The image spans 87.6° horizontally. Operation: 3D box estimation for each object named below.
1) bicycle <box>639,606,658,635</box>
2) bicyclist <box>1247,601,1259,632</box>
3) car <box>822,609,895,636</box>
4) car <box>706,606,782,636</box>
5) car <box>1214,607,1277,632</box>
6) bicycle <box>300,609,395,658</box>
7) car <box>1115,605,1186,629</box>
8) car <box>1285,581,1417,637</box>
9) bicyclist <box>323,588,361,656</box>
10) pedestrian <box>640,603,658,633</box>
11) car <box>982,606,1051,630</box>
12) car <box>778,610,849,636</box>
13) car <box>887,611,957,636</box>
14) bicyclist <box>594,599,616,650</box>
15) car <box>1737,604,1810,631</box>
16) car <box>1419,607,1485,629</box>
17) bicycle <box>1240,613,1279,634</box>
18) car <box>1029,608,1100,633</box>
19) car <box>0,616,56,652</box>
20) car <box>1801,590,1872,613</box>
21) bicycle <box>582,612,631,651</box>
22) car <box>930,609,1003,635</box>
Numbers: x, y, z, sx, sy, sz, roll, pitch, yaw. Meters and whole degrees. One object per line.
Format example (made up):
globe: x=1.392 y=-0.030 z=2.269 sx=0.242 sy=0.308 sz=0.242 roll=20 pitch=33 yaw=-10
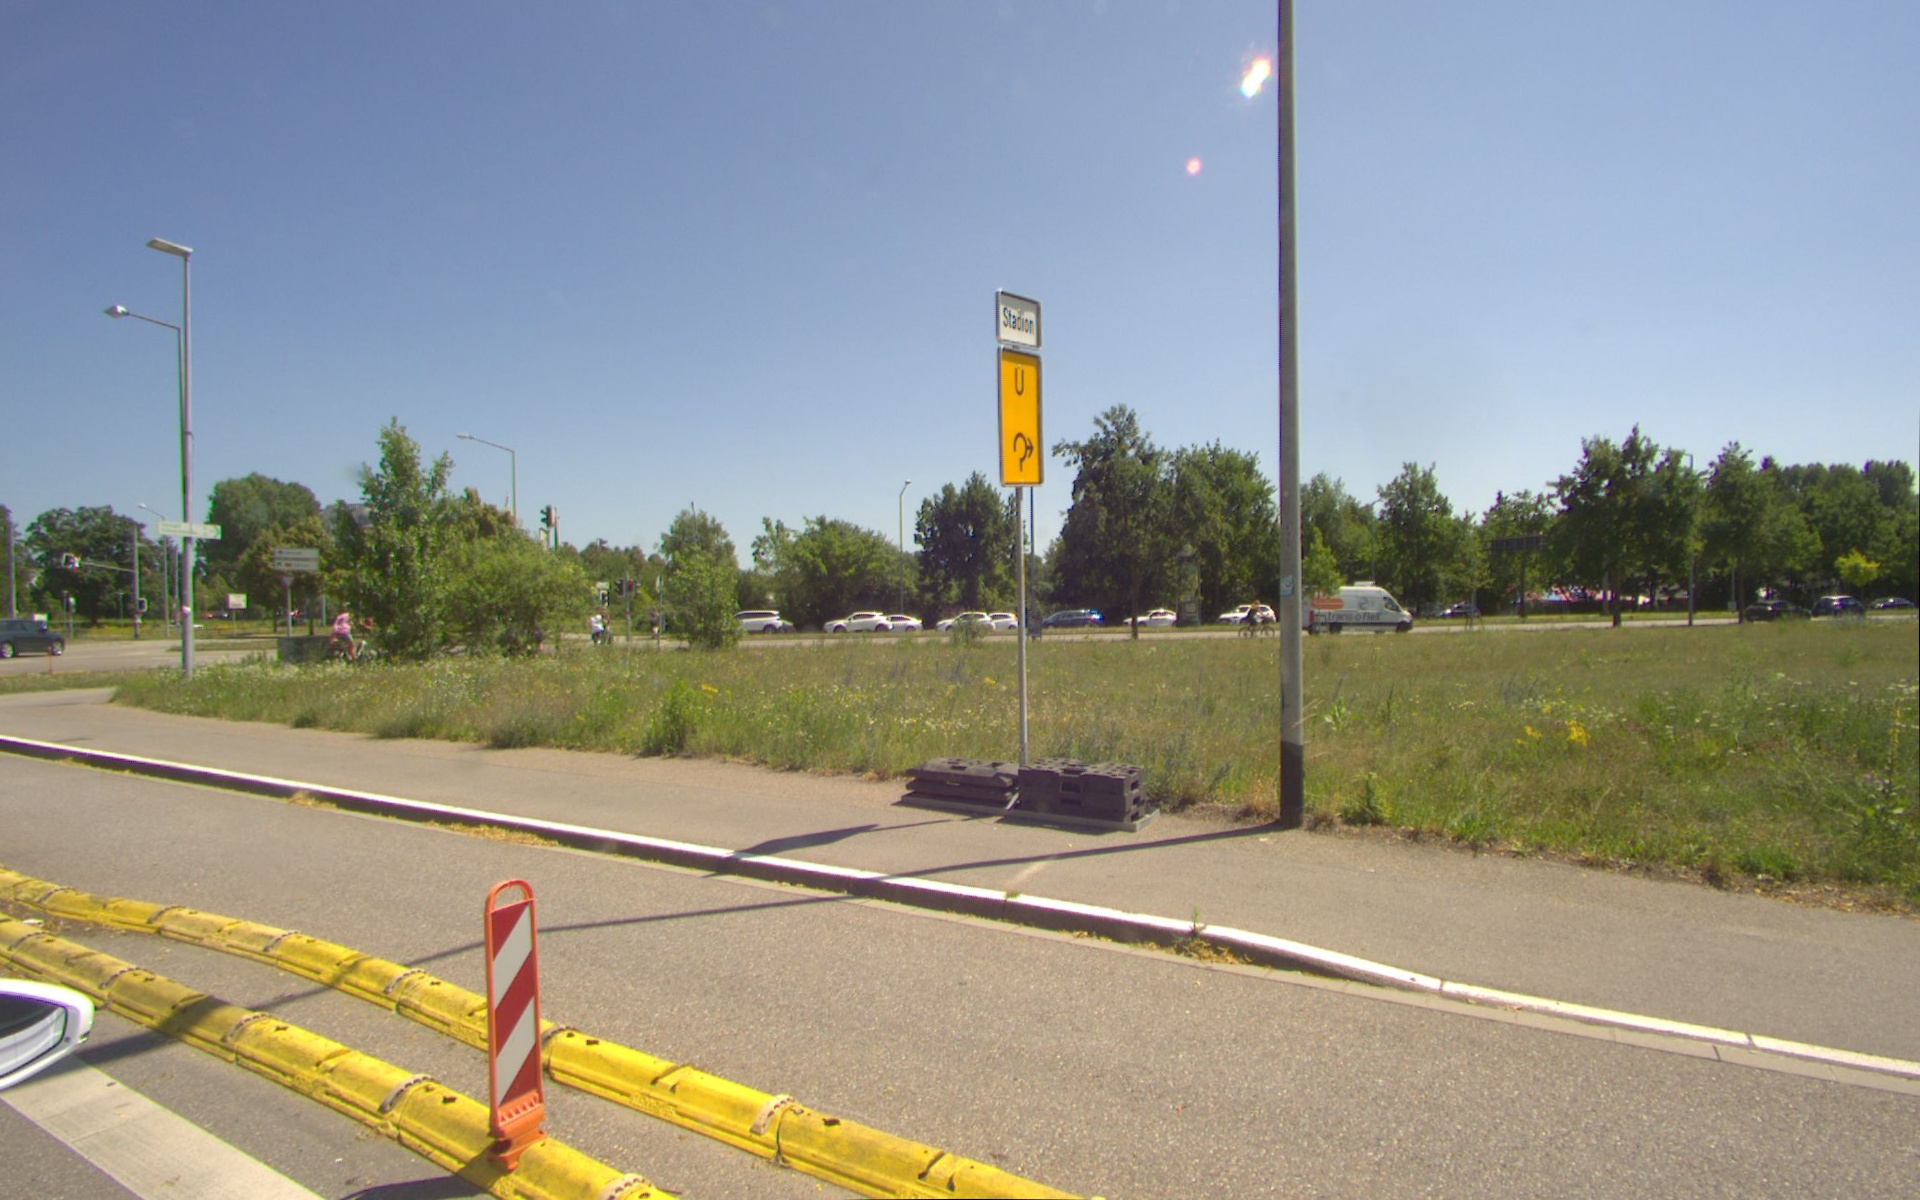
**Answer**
bicycle: x=-17.718 y=1.177 z=56.932 sx=0.967 sy=1.617 sz=2.879 roll=0 pitch=-2 yaw=-16
bicyclist: x=12.397 y=0.704 z=42.386 sx=0.349 sy=1.336 sz=0.379 roll=0 pitch=-1 yaw=-9
car: x=-6.385 y=1.418 z=62.876 sx=4.365 sy=1.612 sz=1.846 roll=0 pitch=-2 yaw=-16
car: x=-13.053 y=1.292 z=60.536 sx=4.365 sy=1.758 sz=1.846 roll=0 pitch=-2 yaw=-16
car: x=19.628 y=1.362 z=68.745 sx=4.389 sy=1.612 sz=1.836 roll=1 pitch=-2 yaw=-36
bicycle: x=-16.338 y=0.870 z=26.744 sx=0.625 sy=1.237 sz=2.086 roll=0 pitch=0 yaw=34
car: x=13.029 y=1.160 z=68.538 sx=4.365 sy=1.612 sz=1.846 roll=0 pitch=-2 yaw=-16
car: x=20.839 y=0.536 z=53.354 sx=6.764 sy=2.864 sz=1.997 roll=0 pitch=-1 yaw=-18
bicyclist: x=-16.410 y=0.577 z=26.590 sx=0.584 sy=1.776 sz=0.668 roll=1 pitch=2 yaw=34
pedestrian: x=-17.645 y=1.042 z=56.804 sx=0.954 sy=1.681 sz=0.885 roll=0 pitch=-1 yaw=-16
car: x=3.887 y=1.209 z=69.164 sx=4.365 sy=1.613 sz=1.845 roll=0 pitch=0 yaw=-16
car: x=-9.500 y=1.505 z=64.879 sx=4.365 sy=1.612 sz=1.846 roll=0 pitch=-2 yaw=-16
car: x=-2.563 y=1.563 z=66.890 sx=4.365 sy=1.612 sz=1.846 roll=0 pitch=-2 yaw=-16
bicyclist: x=-13.216 y=0.918 z=37.249 sx=0.597 sy=1.864 sz=0.572 roll=0 pitch=-1 yaw=2
car: x=50.127 y=1.107 z=61.726 sx=3.932 sy=1.573 sz=1.722 roll=1 pitch=1 yaw=-20
car: x=37.140 y=1.367 z=75.620 sx=4.365 sy=1.612 sz=1.846 roll=0 pitch=-2 yaw=-16
bicycle: x=12.698 y=0.987 z=42.427 sx=1.564 sy=0.895 sz=0.369 roll=0 pitch=-1 yaw=-10
car: x=6.925 y=1.365 z=66.588 sx=4.365 sy=1.612 sz=1.846 roll=0 pitch=-2 yaw=-16
car: x=-34.929 y=1.243 z=36.487 sx=1.411 sy=1.275 sz=3.217 roll=0 pitch=-2 yaw=-8
car: x=63.280 y=0.123 z=72.267 sx=4.344 sy=1.617 sz=1.994 roll=0 pitch=1 yaw=-20
bicycle: x=-13.144 y=1.177 z=37.302 sx=0.628 sy=1.370 sz=2.896 roll=0 pitch=-2 yaw=4
car: x=0.404 y=1.445 z=64.864 sx=4.365 sy=1.612 sz=1.846 roll=0 pitch=-2 yaw=-16
